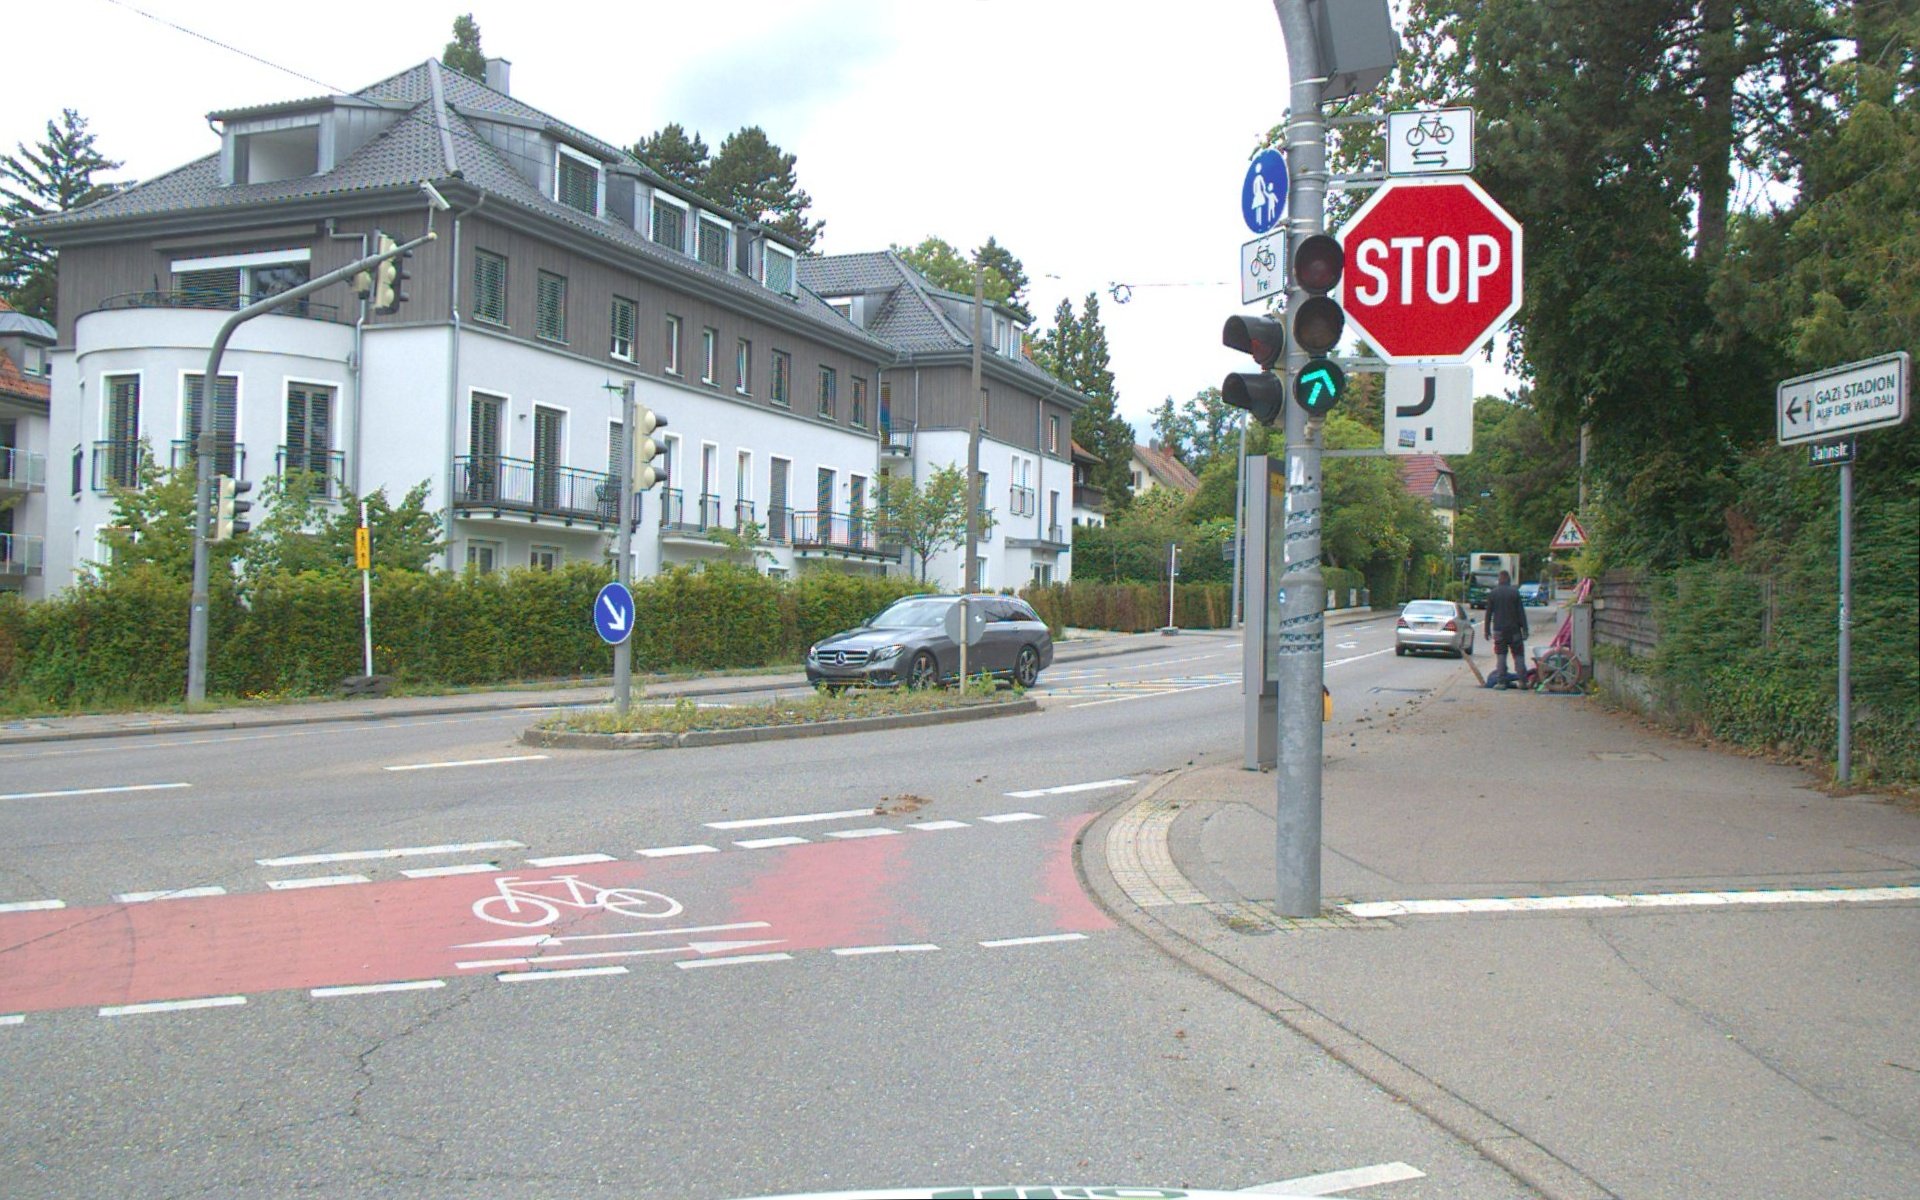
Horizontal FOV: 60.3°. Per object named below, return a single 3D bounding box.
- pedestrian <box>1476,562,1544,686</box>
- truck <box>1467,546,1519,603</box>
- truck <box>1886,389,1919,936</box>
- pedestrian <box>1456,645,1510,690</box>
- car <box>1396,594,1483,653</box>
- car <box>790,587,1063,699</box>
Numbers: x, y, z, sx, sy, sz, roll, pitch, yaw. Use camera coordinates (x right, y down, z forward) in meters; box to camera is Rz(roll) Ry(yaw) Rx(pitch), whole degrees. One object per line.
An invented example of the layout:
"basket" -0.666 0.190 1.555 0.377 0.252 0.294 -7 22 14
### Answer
"pedestrian" 8.816 0.378 26.556 0.828 1.957 0.801 0 0 2
"truck" 35.033 -1.624 108.852 2.718 3.522 7.499 1 0 14
"truck" 5.291 0.265 4.387 2.347 2.393 6.190 1 0 2
"pedestrian" 8.719 1.126 27.592 0.635 0.709 0.582 0 1 -19
"car" 12.587 0.601 43.285 1.760 1.440 4.335 1 0 22
"car" -0.395 0.588 25.309 1.793 1.511 4.733 -1 0 34
